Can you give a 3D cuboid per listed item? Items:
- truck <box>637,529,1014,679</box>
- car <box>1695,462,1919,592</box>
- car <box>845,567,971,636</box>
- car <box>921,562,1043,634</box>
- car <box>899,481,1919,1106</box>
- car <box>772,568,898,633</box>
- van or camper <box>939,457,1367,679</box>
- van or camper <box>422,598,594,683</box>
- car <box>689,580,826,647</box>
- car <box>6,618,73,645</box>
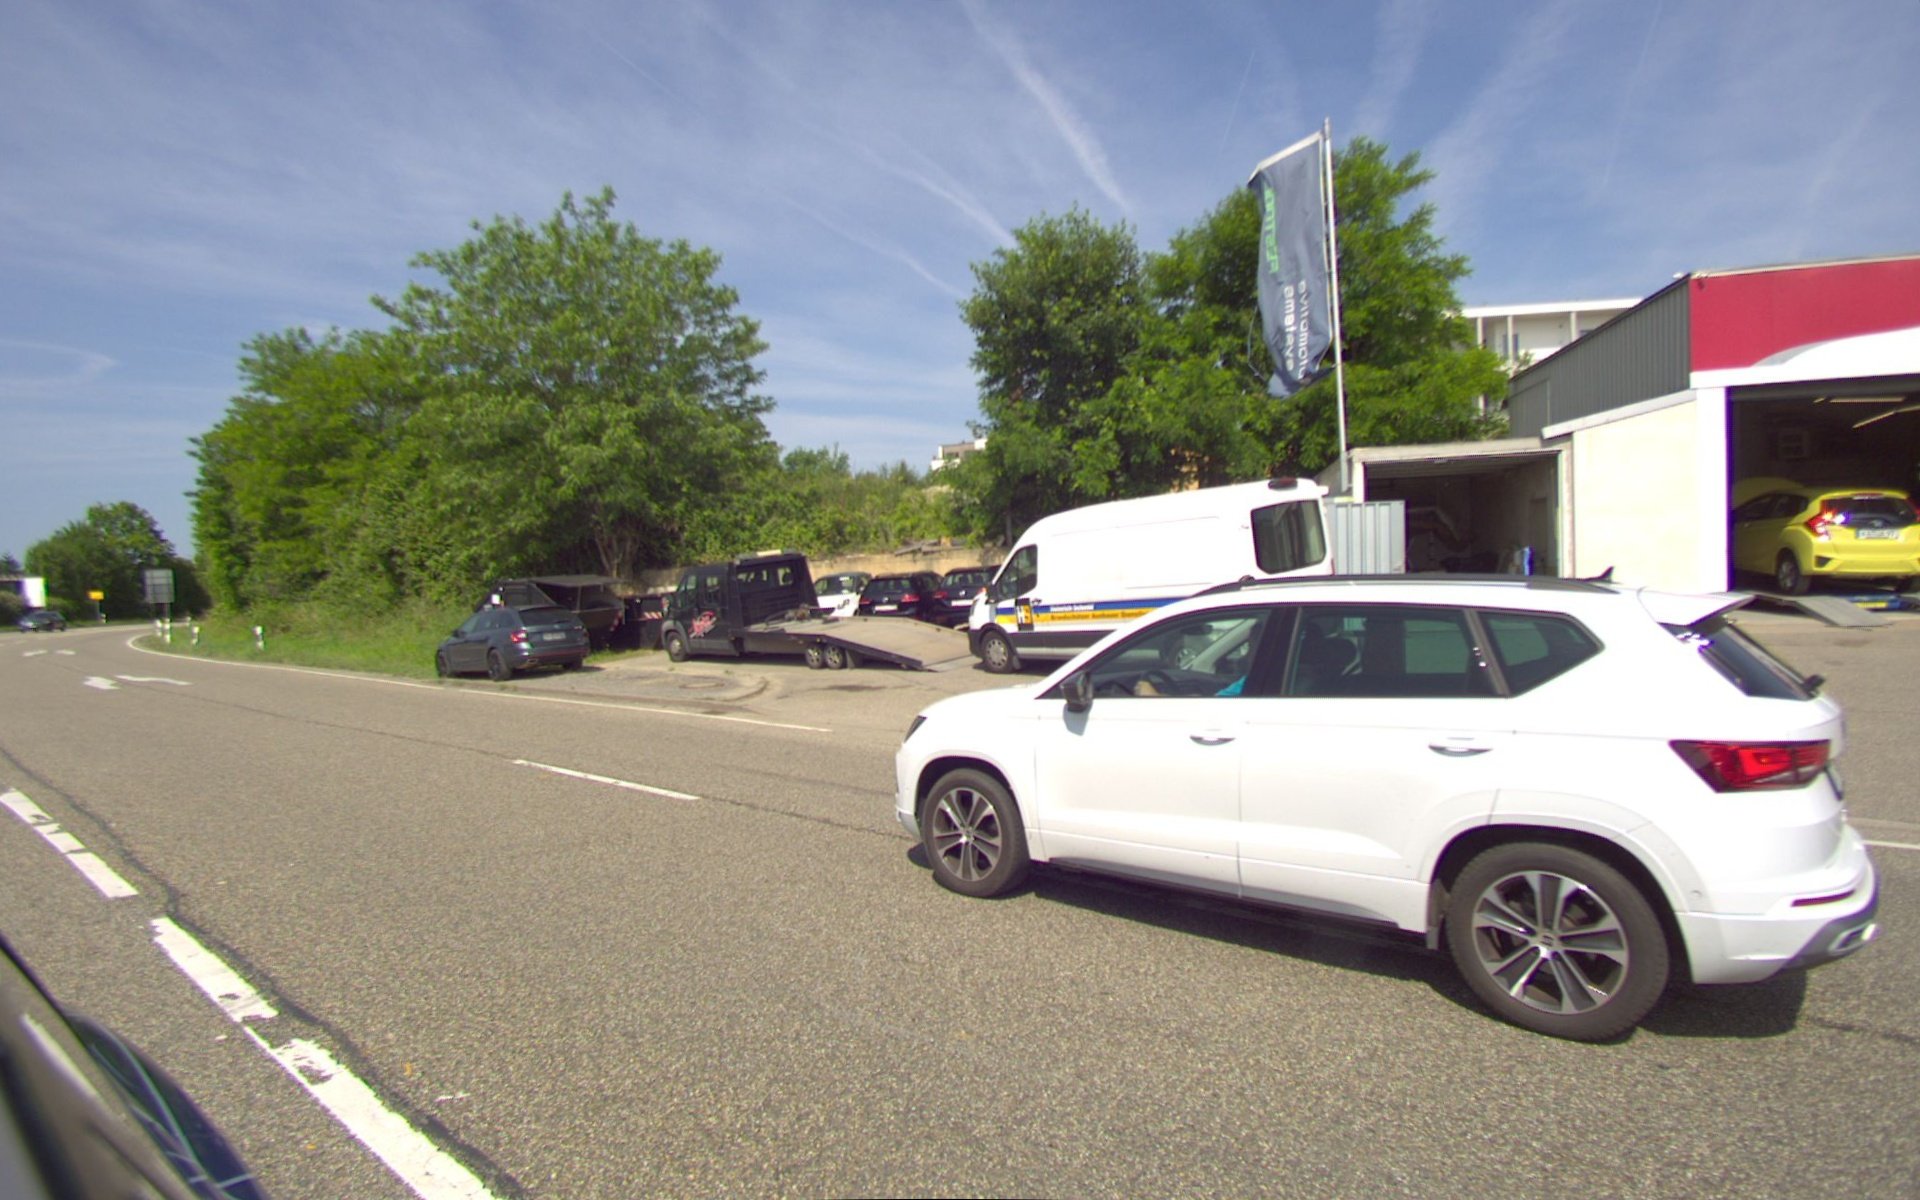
[{"bbox_3d":[-3.093,0.082,20.339,8.803,2.313,2.306,-1,6,43],"label":"truck"},{"bbox_3d":[13.334,-1.154,15.819,1.723,1.737,3.655,-2,4,15],"label":"car"},{"bbox_3d":[-1.152,-0.005,24.274,1.726,1.480,3.648,-2,1,20],"label":"car"},{"bbox_3d":[0.605,-0.094,23.409,1.726,1.480,3.648,-2,1,20],"label":"car"},{"bbox_3d":[1.813,0.554,4.698,3.998,1.687,1.915,-1,-1,41],"label":"car"},{"bbox_3d":[-3.107,-0.029,25.945,1.726,1.480,3.648,-2,1,20],"label":"car"},{"bbox_3d":[2.440,-0.423,14.572,2.127,2.517,5.962,-7,4,-38],"label":"van or camper"},{"bbox_3d":[-9.629,0.799,21.395,4.466,1.535,1.622,-1,2,42],"label":"van or camper"},{"bbox_3d":[-5.184,0.310,26.363,1.706,1.522,3.643,-2,1,23],"label":"car"},{"bbox_3d":[-66.059,2.256,72.712,1.837,1.653,4.435,-2,1,-17],"label":"car"}]
